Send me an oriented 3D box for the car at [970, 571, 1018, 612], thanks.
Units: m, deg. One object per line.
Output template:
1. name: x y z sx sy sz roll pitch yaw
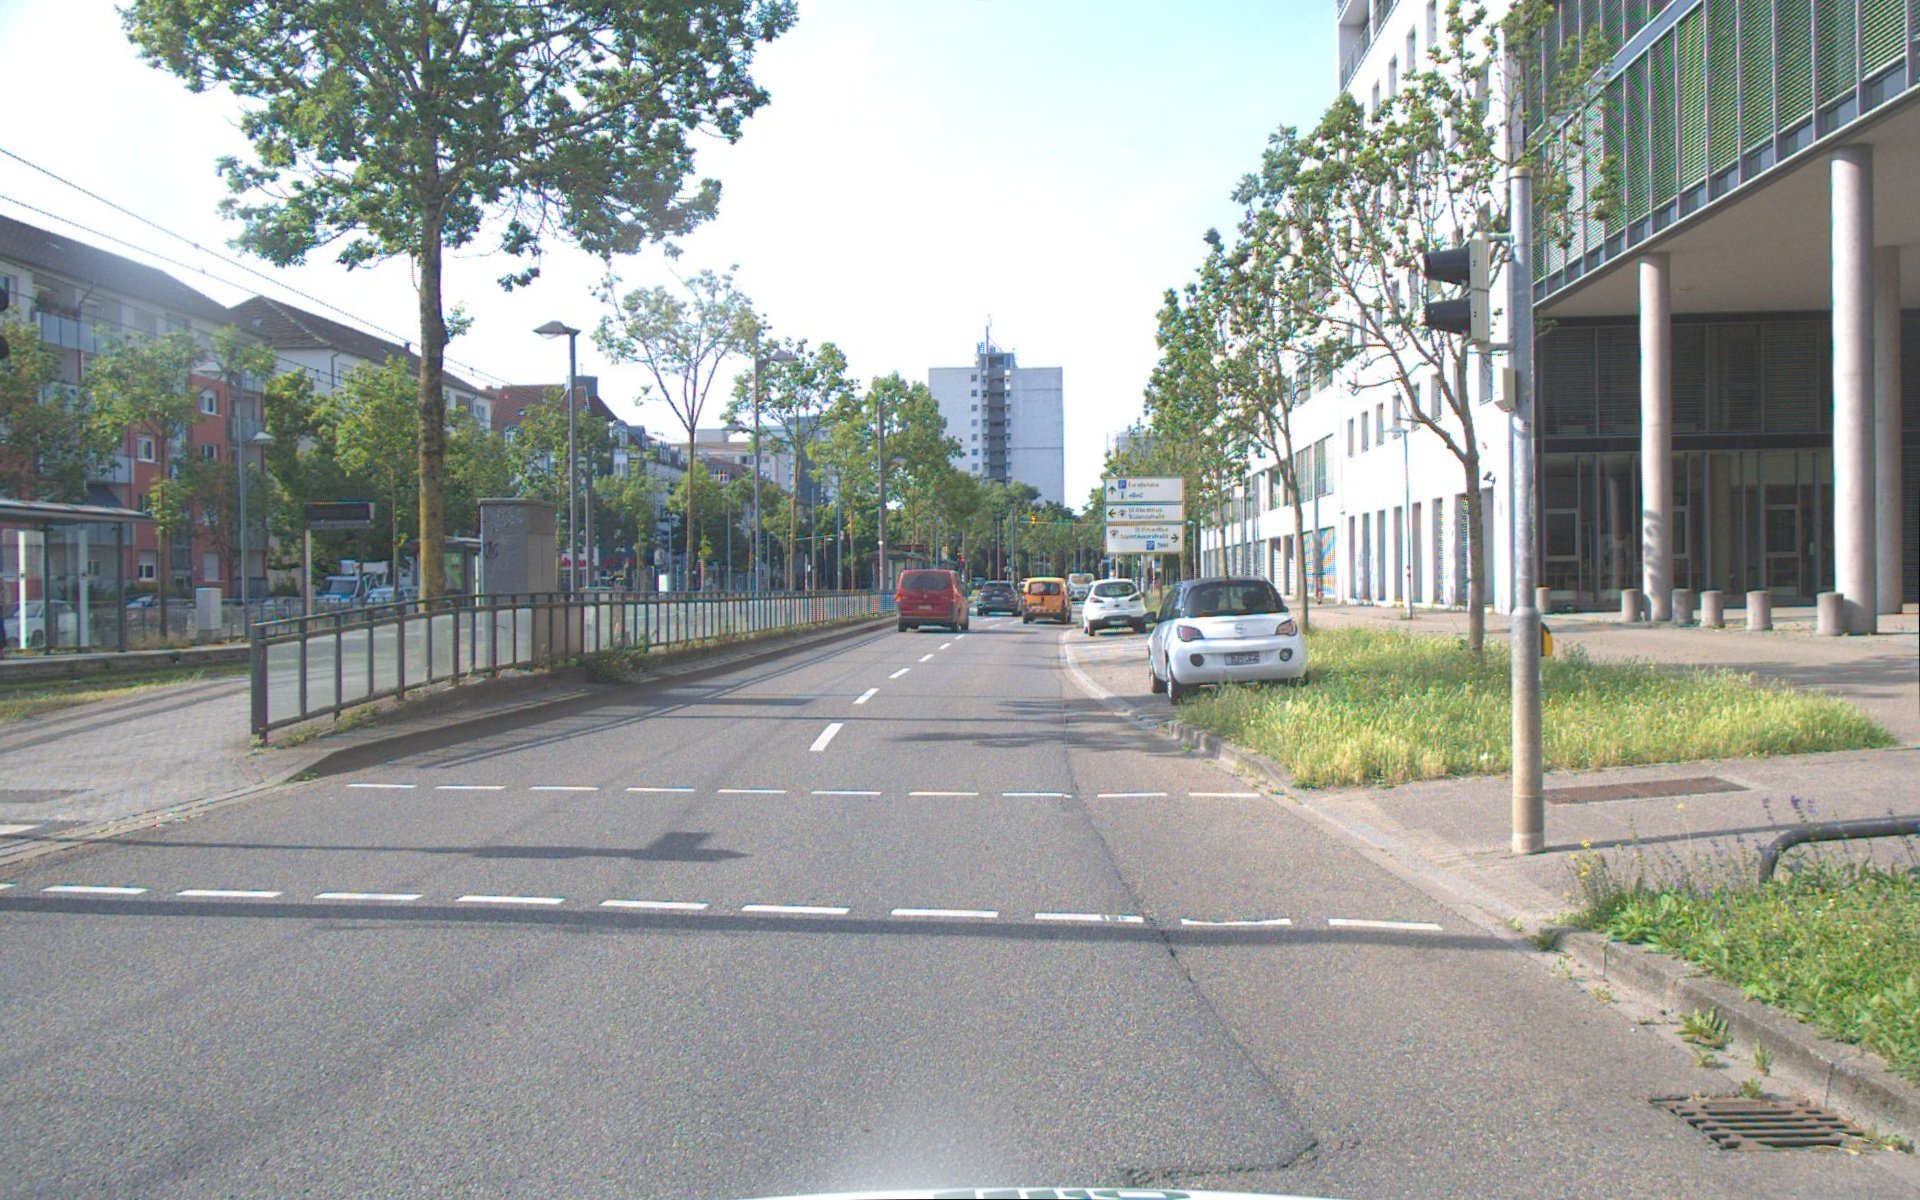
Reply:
1. car: 1.535 -0.386 73.915 1.952 1.735 4.002 -1 1 3

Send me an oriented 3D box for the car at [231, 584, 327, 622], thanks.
1. car: -26.627 0.099 64.815 1.939 1.384 4.071 1 1 2

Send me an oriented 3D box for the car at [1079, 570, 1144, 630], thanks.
1. car: 4.307 -0.030 47.374 1.653 1.552 3.853 -3 1 3

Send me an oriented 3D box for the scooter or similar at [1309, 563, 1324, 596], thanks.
1. scooter or similar: 13.599 -0.787 63.063 0.452 1.234 1.256 -2 1 9

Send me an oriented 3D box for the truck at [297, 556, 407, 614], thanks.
1. truck: -29.176 -0.755 79.710 2.316 2.607 7.244 1 1 3

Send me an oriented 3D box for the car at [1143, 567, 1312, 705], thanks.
1. car: 3.332 0.389 21.219 1.684 1.545 3.783 -1 2 2

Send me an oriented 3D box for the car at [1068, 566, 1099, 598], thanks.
1. car: 8.254 -1.194 110.811 1.952 2.049 4.002 -1 1 3

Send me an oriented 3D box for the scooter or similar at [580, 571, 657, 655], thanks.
1. scooter or similar: -5.376 0.195 26.078 0.418 1.260 1.259 -1 1 30

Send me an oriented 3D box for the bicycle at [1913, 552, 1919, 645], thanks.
1. bicycle: 11.742 -0.016 19.151 0.483 1.105 1.550 -3 1 0

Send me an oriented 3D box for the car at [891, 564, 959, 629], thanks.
1. car: -1.049 -0.144 51.072 1.835 1.885 4.002 -1 1 2

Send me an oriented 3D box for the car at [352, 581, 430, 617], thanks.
1. car: -25.920 -0.073 75.504 1.939 1.540 4.282 1 1 2

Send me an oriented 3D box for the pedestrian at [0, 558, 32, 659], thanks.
1. pedestrian: -16.199 0.137 27.865 0.658 1.682 0.794 -1 1 -1

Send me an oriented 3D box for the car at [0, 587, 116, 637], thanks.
1. car: -27.611 0.337 50.022 1.939 1.384 4.071 1 1 2

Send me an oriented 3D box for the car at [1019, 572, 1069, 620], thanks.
1. car: 3.229 -0.174 63.152 1.836 1.726 3.976 -1 1 4
